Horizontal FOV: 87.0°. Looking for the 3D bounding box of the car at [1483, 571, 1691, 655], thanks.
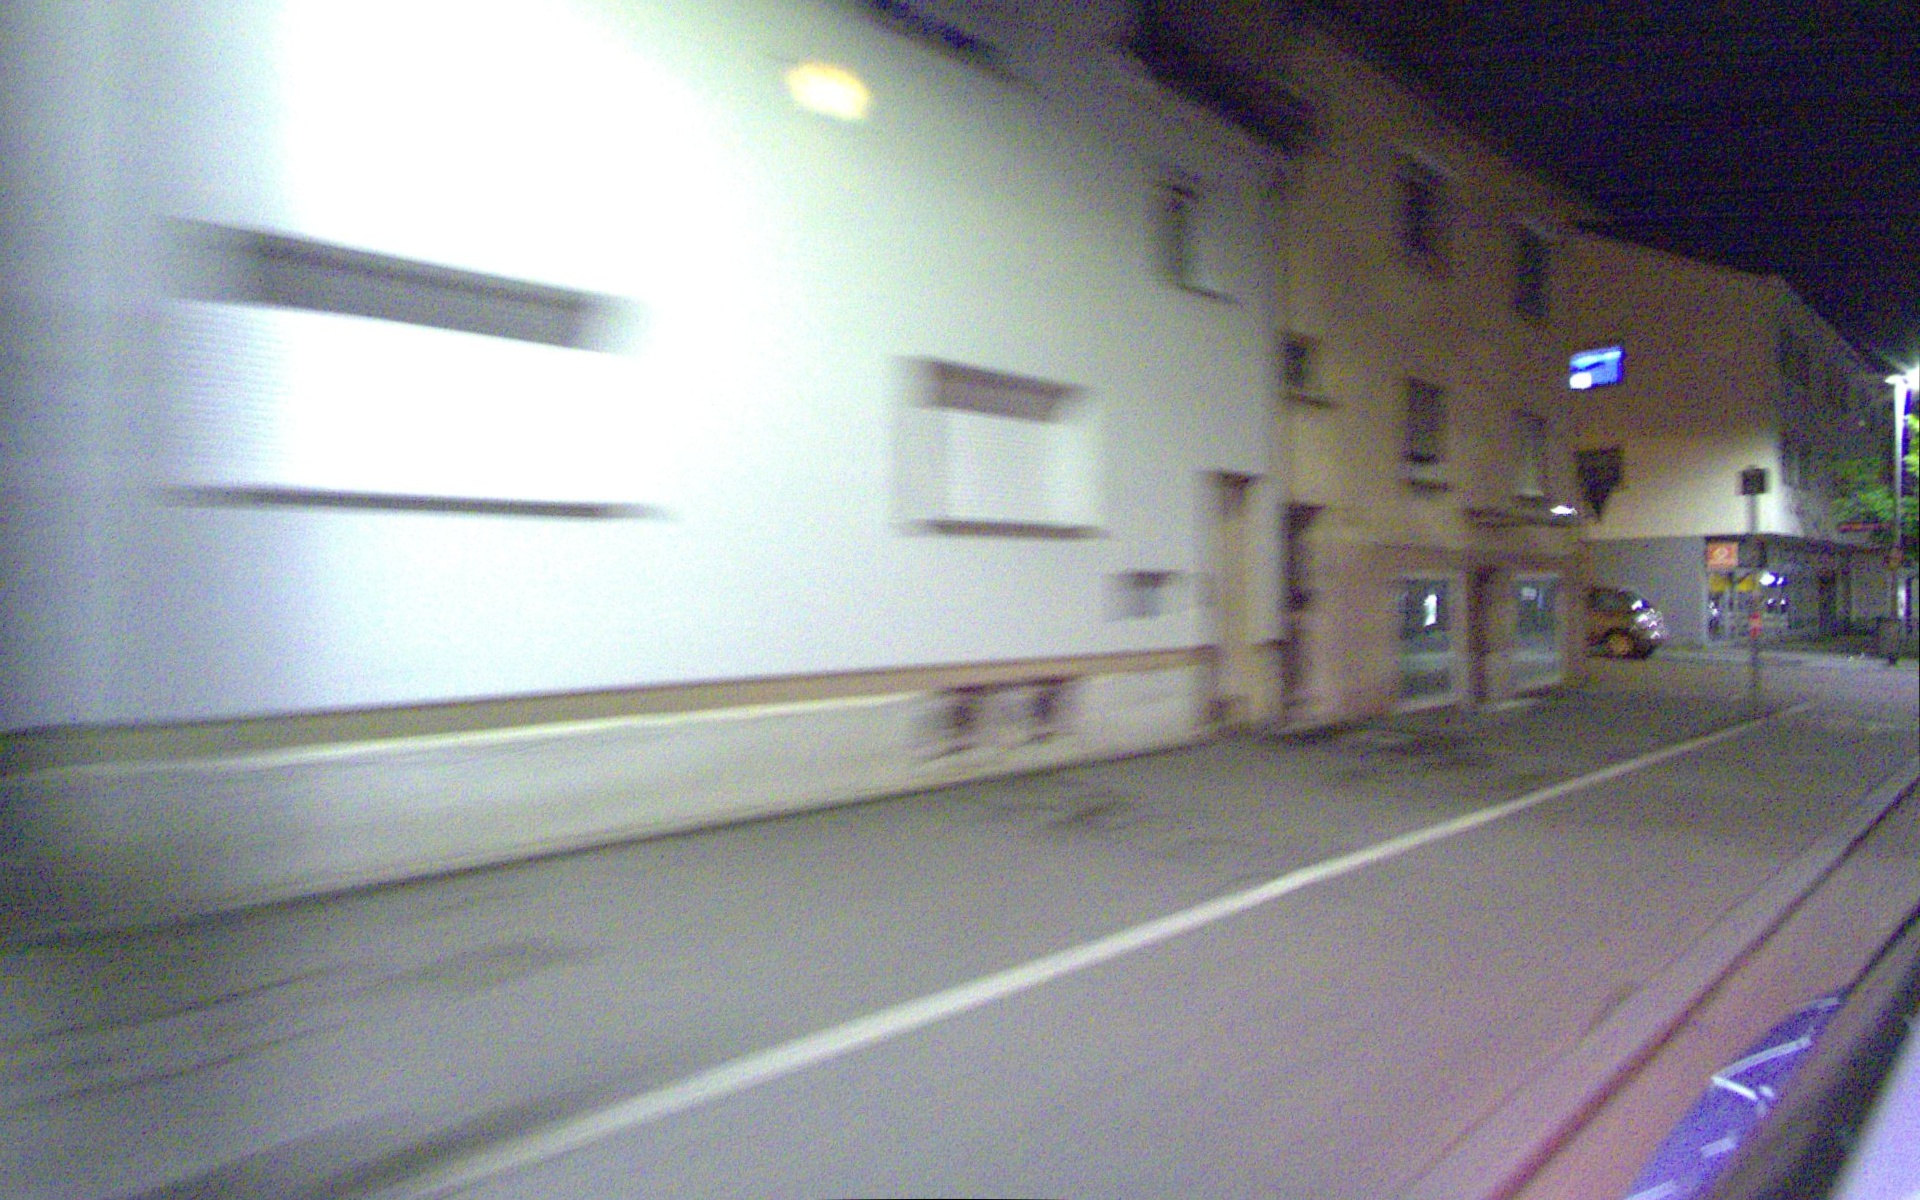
[{"bbox_3d":[13.828,0.216,22.448,1.789,1.543,3.513,-1,4,-41],"label":"car"}]
